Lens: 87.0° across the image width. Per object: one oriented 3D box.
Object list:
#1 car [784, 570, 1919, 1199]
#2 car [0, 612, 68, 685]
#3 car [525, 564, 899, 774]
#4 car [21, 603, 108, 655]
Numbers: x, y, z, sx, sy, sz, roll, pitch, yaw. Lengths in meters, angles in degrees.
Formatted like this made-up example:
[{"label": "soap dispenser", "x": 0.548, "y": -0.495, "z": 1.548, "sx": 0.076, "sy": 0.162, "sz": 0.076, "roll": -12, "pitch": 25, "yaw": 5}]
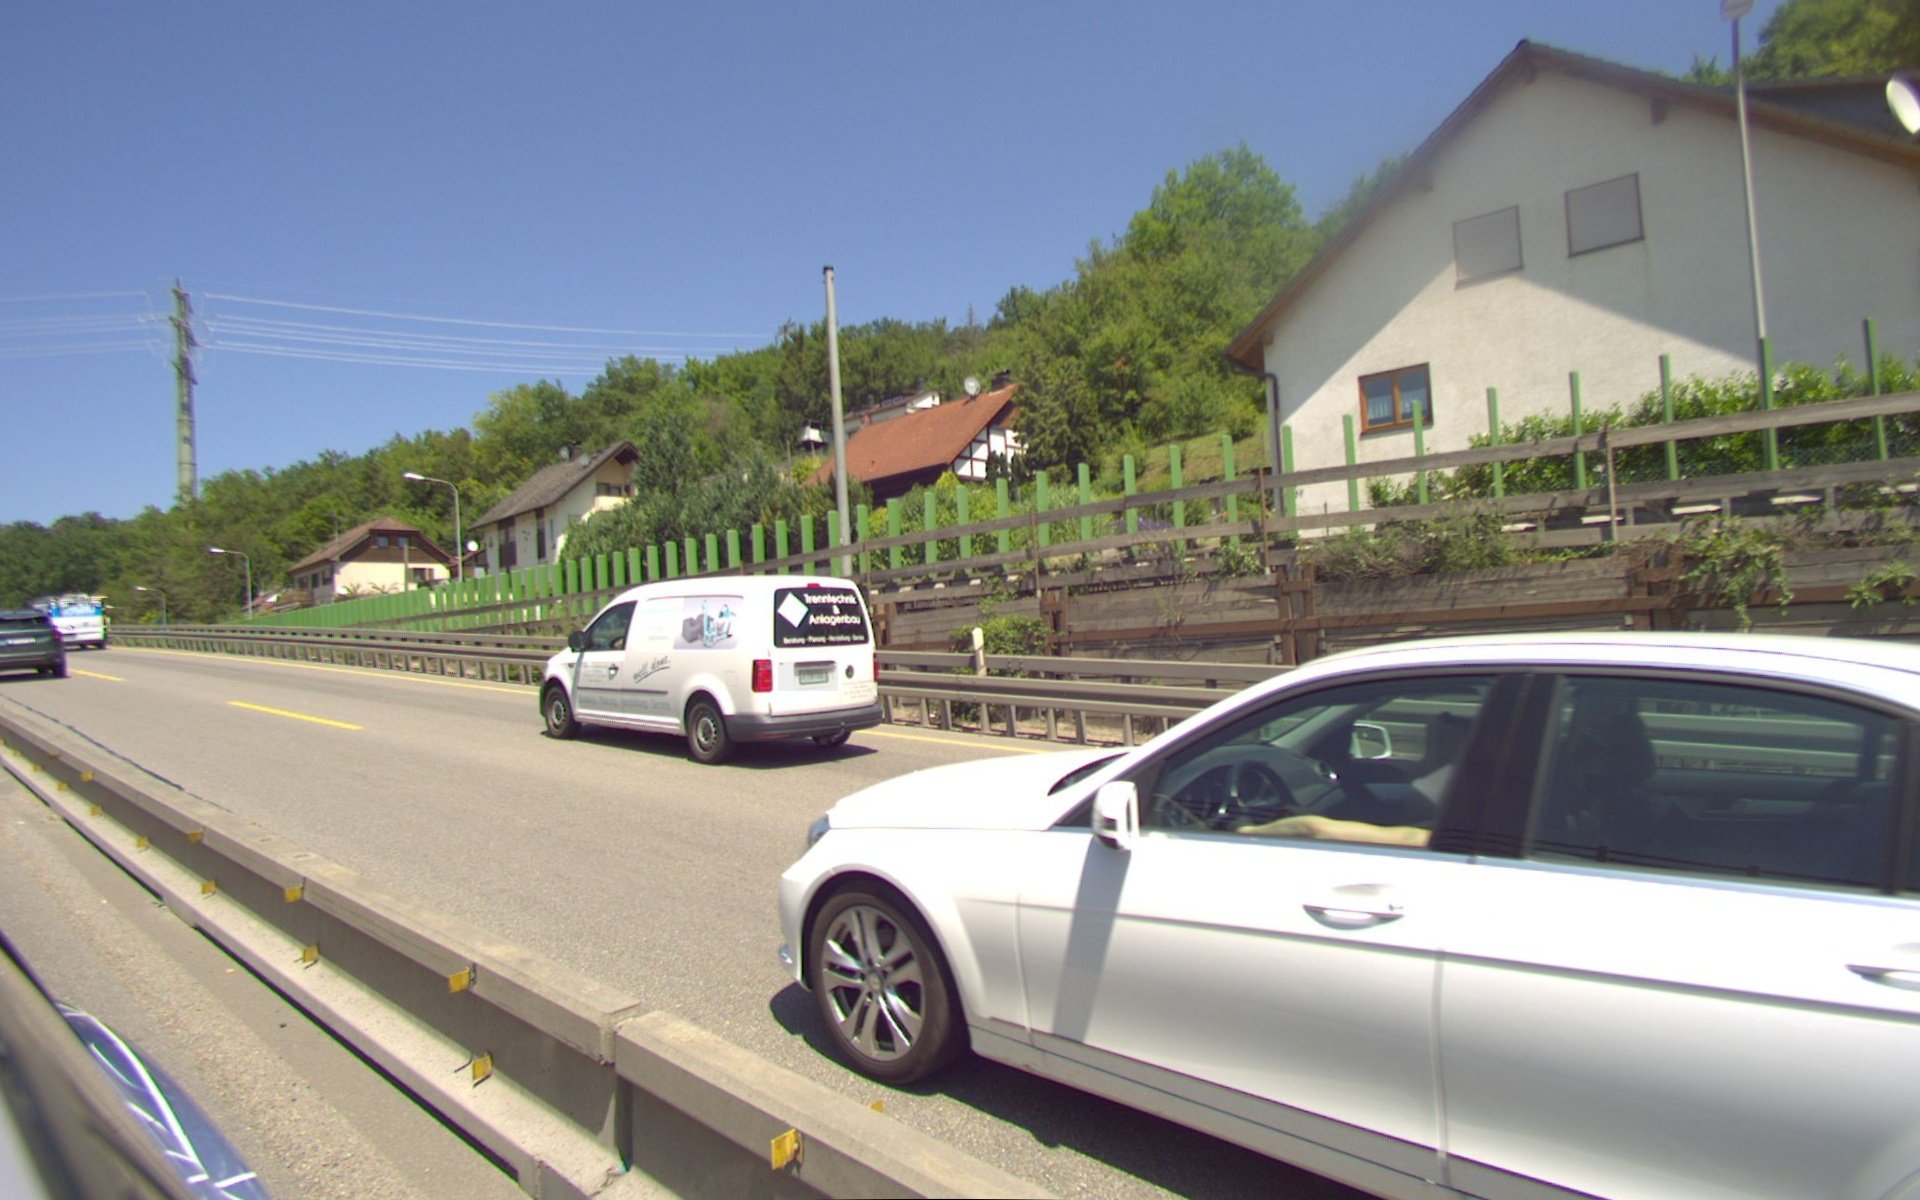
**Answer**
[{"label": "car", "x": 1.613, "y": 0.673, "z": 2.503, "sx": 4.256, "sy": 1.448, "sz": 1.715, "roll": -1, "pitch": 1, "yaw": 41}, {"label": "car", "x": -23.189, "y": 1.156, "z": 24.577, "sx": 4.098, "sy": 1.646, "sz": 1.756, "roll": -2, "pitch": 0, "yaw": 41}, {"label": "car", "x": -2.902, "y": 0.641, "z": 11.077, "sx": 4.751, "sy": 1.847, "sz": 1.579, "roll": -1, "pitch": -1, "yaw": 42}, {"label": "car", "x": -36.240, "y": 1.149, "z": 40.917, "sx": 5.238, "sy": 1.940, "sz": 1.807, "roll": -2, "pitch": 0, "yaw": 39}]
